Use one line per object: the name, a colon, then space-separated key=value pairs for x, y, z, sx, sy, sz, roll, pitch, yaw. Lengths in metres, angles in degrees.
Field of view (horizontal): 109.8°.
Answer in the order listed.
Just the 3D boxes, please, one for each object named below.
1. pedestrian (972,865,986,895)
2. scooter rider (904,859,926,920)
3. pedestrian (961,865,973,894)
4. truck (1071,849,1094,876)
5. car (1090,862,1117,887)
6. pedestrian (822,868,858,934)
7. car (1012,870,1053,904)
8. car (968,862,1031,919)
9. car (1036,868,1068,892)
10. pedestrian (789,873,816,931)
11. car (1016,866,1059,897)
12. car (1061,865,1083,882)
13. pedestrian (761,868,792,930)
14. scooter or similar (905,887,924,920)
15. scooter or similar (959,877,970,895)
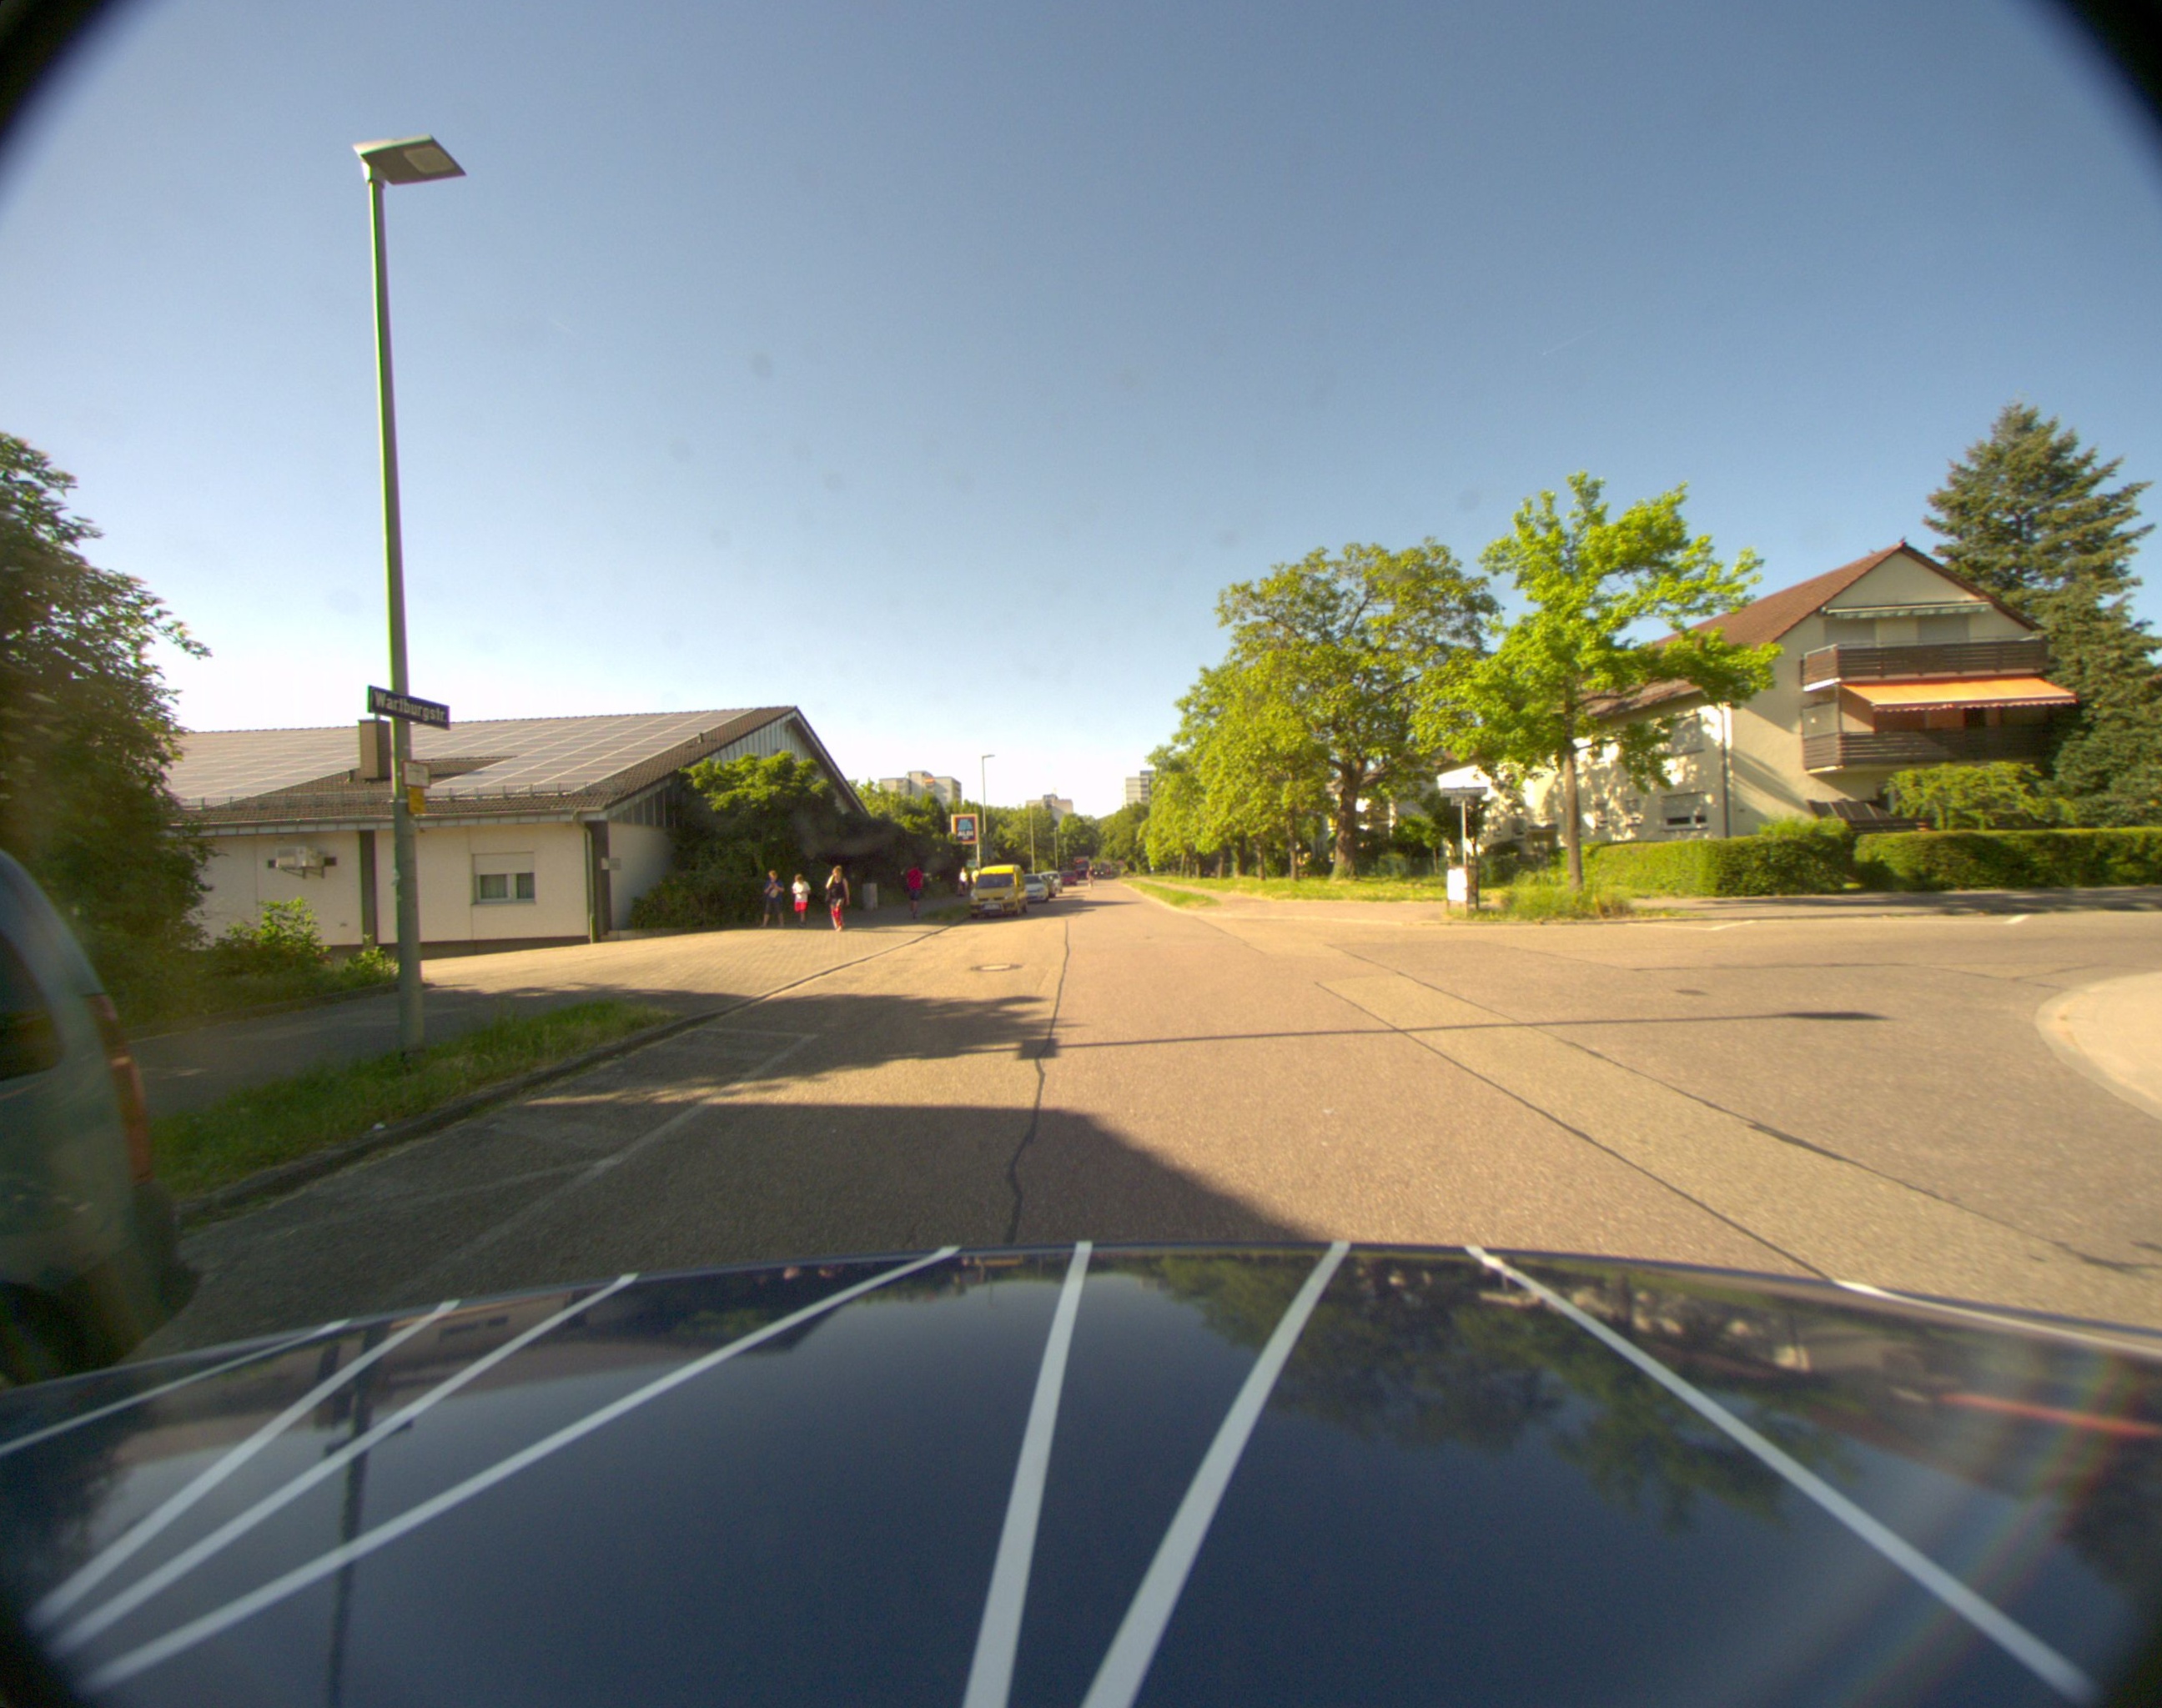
pedestrian: x=-6.131 y=1.566 z=45.557 sx=0.673 sy=1.757 sz=0.590 roll=-2 pitch=0 yaw=1
scooter rider: x=-5.501 y=1.168 z=25.141 sx=0.599 sy=2.002 sz=0.486 roll=1 pitch=0 yaw=-4
pedestrian: x=-7.057 y=1.597 z=46.978 sx=0.541 sy=1.757 sz=0.590 roll=-2 pitch=0 yaw=1
truck: x=0.333 y=1.518 z=137.257 sx=3.601 sy=4.543 sz=10.026 roll=-2 pitch=0 yaw=2
car: x=1.893 y=1.716 z=65.411 sx=1.965 sy=1.908 sz=4.576 roll=-3 pitch=0 yaw=-2
pedestrian: x=-6.321 y=1.207 z=19.945 sx=0.635 sy=1.679 sz=0.896 roll=1 pitch=0 yaw=-1
car: x=-2.407 y=1.610 z=38.341 sx=1.621 sy=1.478 sz=3.982 roll=-3 pitch=0 yaw=1
car: x=-2.794 y=1.212 z=26.751 sx=1.621 sy=1.766 sz=3.982 roll=-3 pitch=0 yaw=1
car: x=-2.115 y=1.883 z=55.931 sx=1.998 sy=1.587 sz=4.579 roll=-3 pitch=-1 yaw=1
pedestrian: x=-7.507 y=1.292 z=20.499 sx=0.447 sy=1.524 sz=0.666 roll=1 pitch=0 yaw=-1
car: x=-2.444 y=1.567 z=44.132 sx=1.998 sy=1.587 sz=4.579 roll=-3 pitch=-1 yaw=2
car: x=-0.963 y=2.095 z=82.274 sx=1.998 sy=1.587 sz=4.579 roll=-3 pitch=0 yaw=4
pedestrian: x=-8.340 y=1.222 z=20.831 sx=0.583 sy=1.654 sz=0.642 roll=1 pitch=0 yaw=-1
scooter or similar: x=-5.503 y=1.618 z=25.115 sx=0.457 sy=1.024 sz=1.049 roll=1 pitch=0 yaw=-4
scooter or similar: x=-7.107 y=1.943 z=46.200 sx=0.478 sy=1.071 sz=0.841 roll=-2 pitch=0 yaw=1
